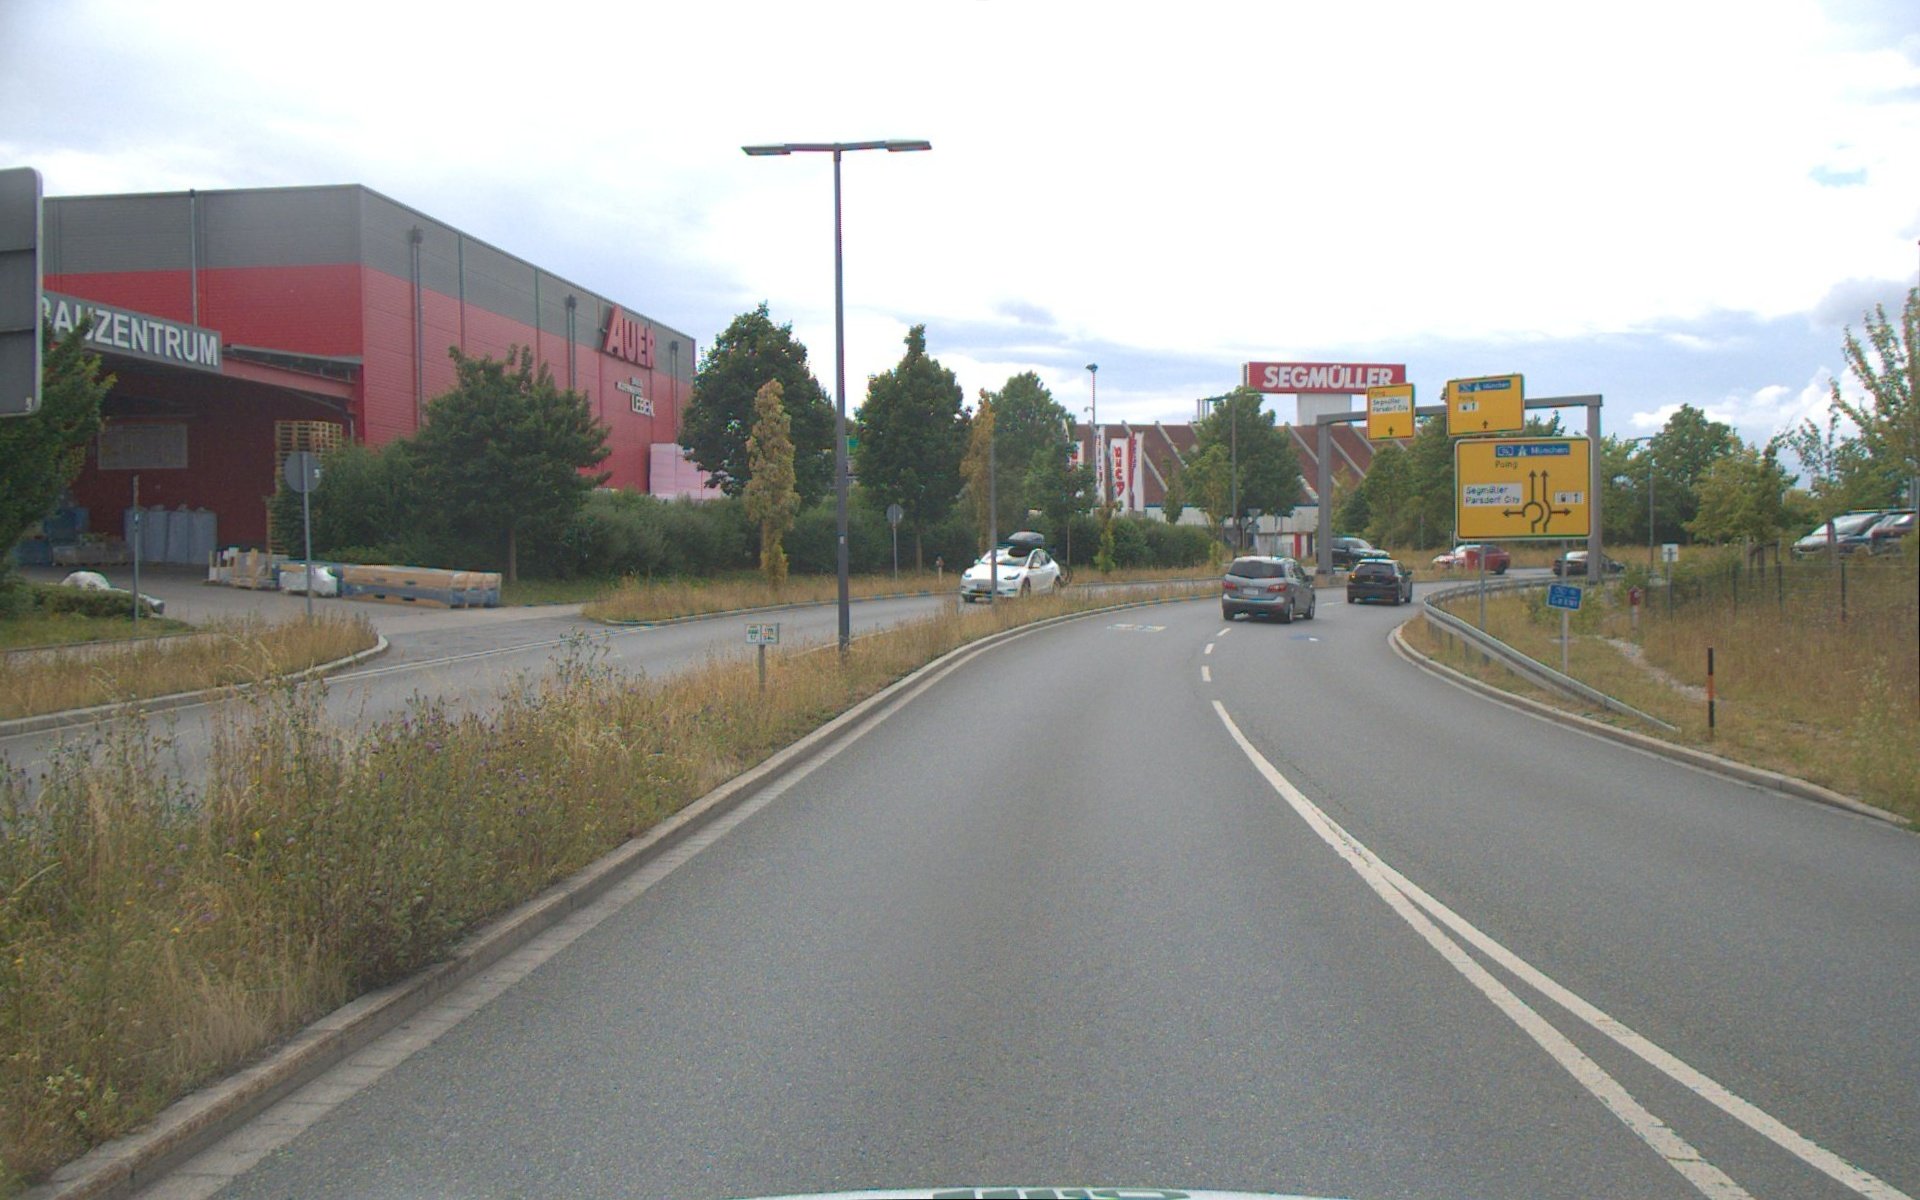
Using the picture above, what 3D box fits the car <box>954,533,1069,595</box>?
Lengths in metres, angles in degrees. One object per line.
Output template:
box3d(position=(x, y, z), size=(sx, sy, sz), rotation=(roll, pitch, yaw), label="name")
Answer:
box3d(position=(1.578, -1.103, 49.022), size=(1.870, 1.654, 4.638), rotation=(4, 3, 22), label="car")

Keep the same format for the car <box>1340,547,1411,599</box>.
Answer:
box3d(position=(13.736, -0.898, 54.522), size=(1.830, 1.633, 3.735), rotation=(0, 1, 21), label="car")

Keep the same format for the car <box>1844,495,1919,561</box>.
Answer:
box3d(position=(25.769, -1.903, 44.341), size=(3.665, 1.681, 1.511), rotation=(1, 3, -19), label="car")

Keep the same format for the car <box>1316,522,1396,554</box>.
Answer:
box3d(position=(20.556, -3.235, 85.996), size=(1.845, 1.576, 4.221), rotation=(-1, 3, -26), label="car")

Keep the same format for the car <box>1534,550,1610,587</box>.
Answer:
box3d(position=(28.274, -1.458, 76.341), size=(1.880, 1.646, 3.972), rotation=(1, 1, 44), label="car")

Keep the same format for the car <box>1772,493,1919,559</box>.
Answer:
box3d(position=(26.753, -2.236, 49.920), size=(4.102, 1.813, 1.792), rotation=(1, 3, -25), label="car")

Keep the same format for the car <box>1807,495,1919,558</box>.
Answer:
box3d(position=(26.518, -2.105, 47.543), size=(3.791, 1.681, 1.723), rotation=(1, 3, -21), label="car")

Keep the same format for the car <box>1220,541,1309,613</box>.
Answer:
box3d(position=(7.855, -0.580, 42.428), size=(1.730, 1.644, 3.924), rotation=(4, 2, 17), label="car")
